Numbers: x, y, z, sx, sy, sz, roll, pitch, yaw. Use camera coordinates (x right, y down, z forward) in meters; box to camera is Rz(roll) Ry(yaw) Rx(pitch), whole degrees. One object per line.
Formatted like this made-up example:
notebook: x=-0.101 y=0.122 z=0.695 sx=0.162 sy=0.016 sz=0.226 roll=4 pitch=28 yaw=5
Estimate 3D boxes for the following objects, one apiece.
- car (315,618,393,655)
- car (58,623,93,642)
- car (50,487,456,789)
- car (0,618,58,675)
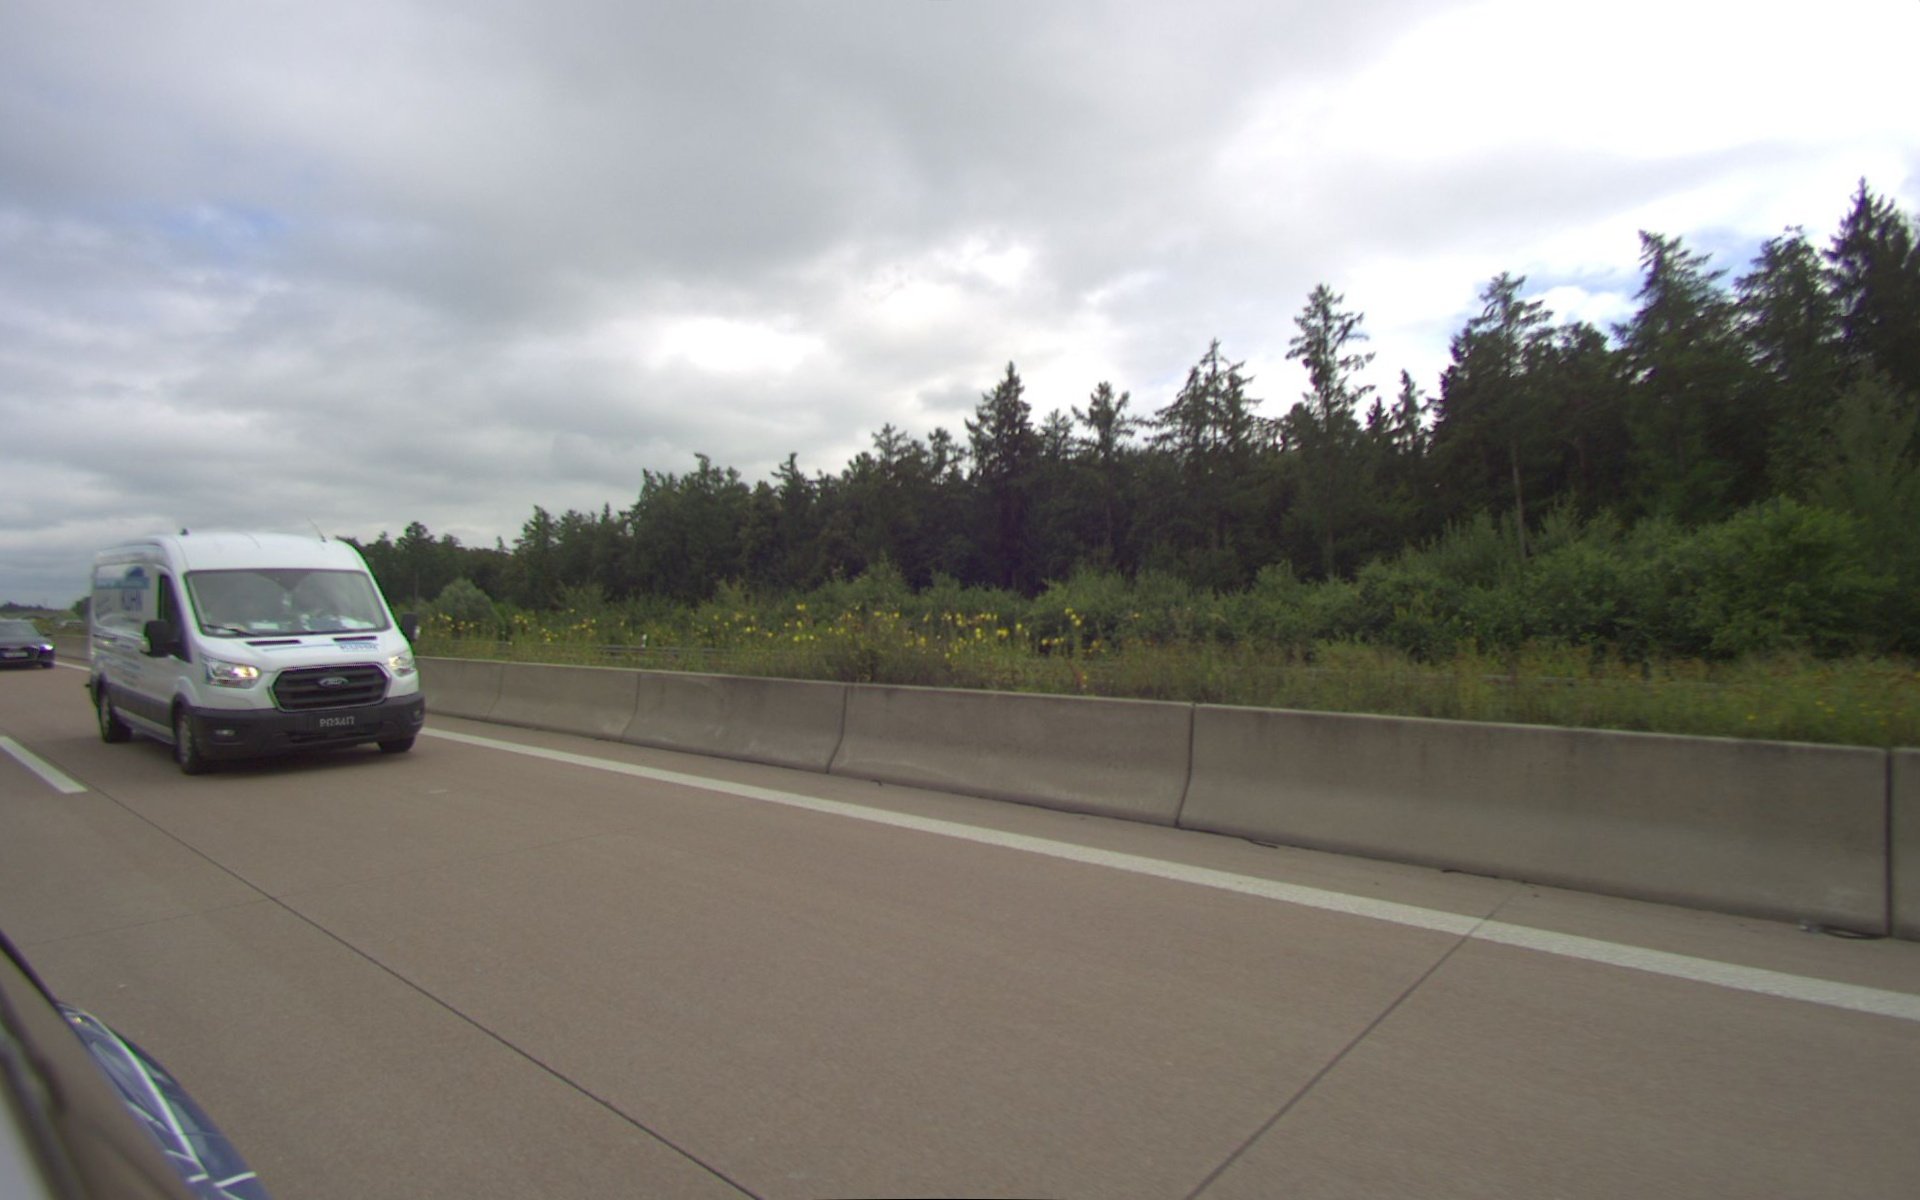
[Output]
car: x=-25.286 y=1.492 z=42.201 sx=3.891 sy=1.445 sz=1.730 roll=-1 pitch=-1 yaw=42
car: x=-84.568 y=3.068 z=96.773 sx=3.998 sy=1.692 sz=1.973 roll=-1 pitch=0 yaw=41
car: x=-8.414 y=0.384 z=11.617 sx=7.126 sy=2.526 sz=2.116 roll=-1 pitch=-1 yaw=41
car: x=-28.732 y=1.341 z=30.251 sx=5.673 sy=1.562 sz=2.063 roll=-1 pitch=0 yaw=42
